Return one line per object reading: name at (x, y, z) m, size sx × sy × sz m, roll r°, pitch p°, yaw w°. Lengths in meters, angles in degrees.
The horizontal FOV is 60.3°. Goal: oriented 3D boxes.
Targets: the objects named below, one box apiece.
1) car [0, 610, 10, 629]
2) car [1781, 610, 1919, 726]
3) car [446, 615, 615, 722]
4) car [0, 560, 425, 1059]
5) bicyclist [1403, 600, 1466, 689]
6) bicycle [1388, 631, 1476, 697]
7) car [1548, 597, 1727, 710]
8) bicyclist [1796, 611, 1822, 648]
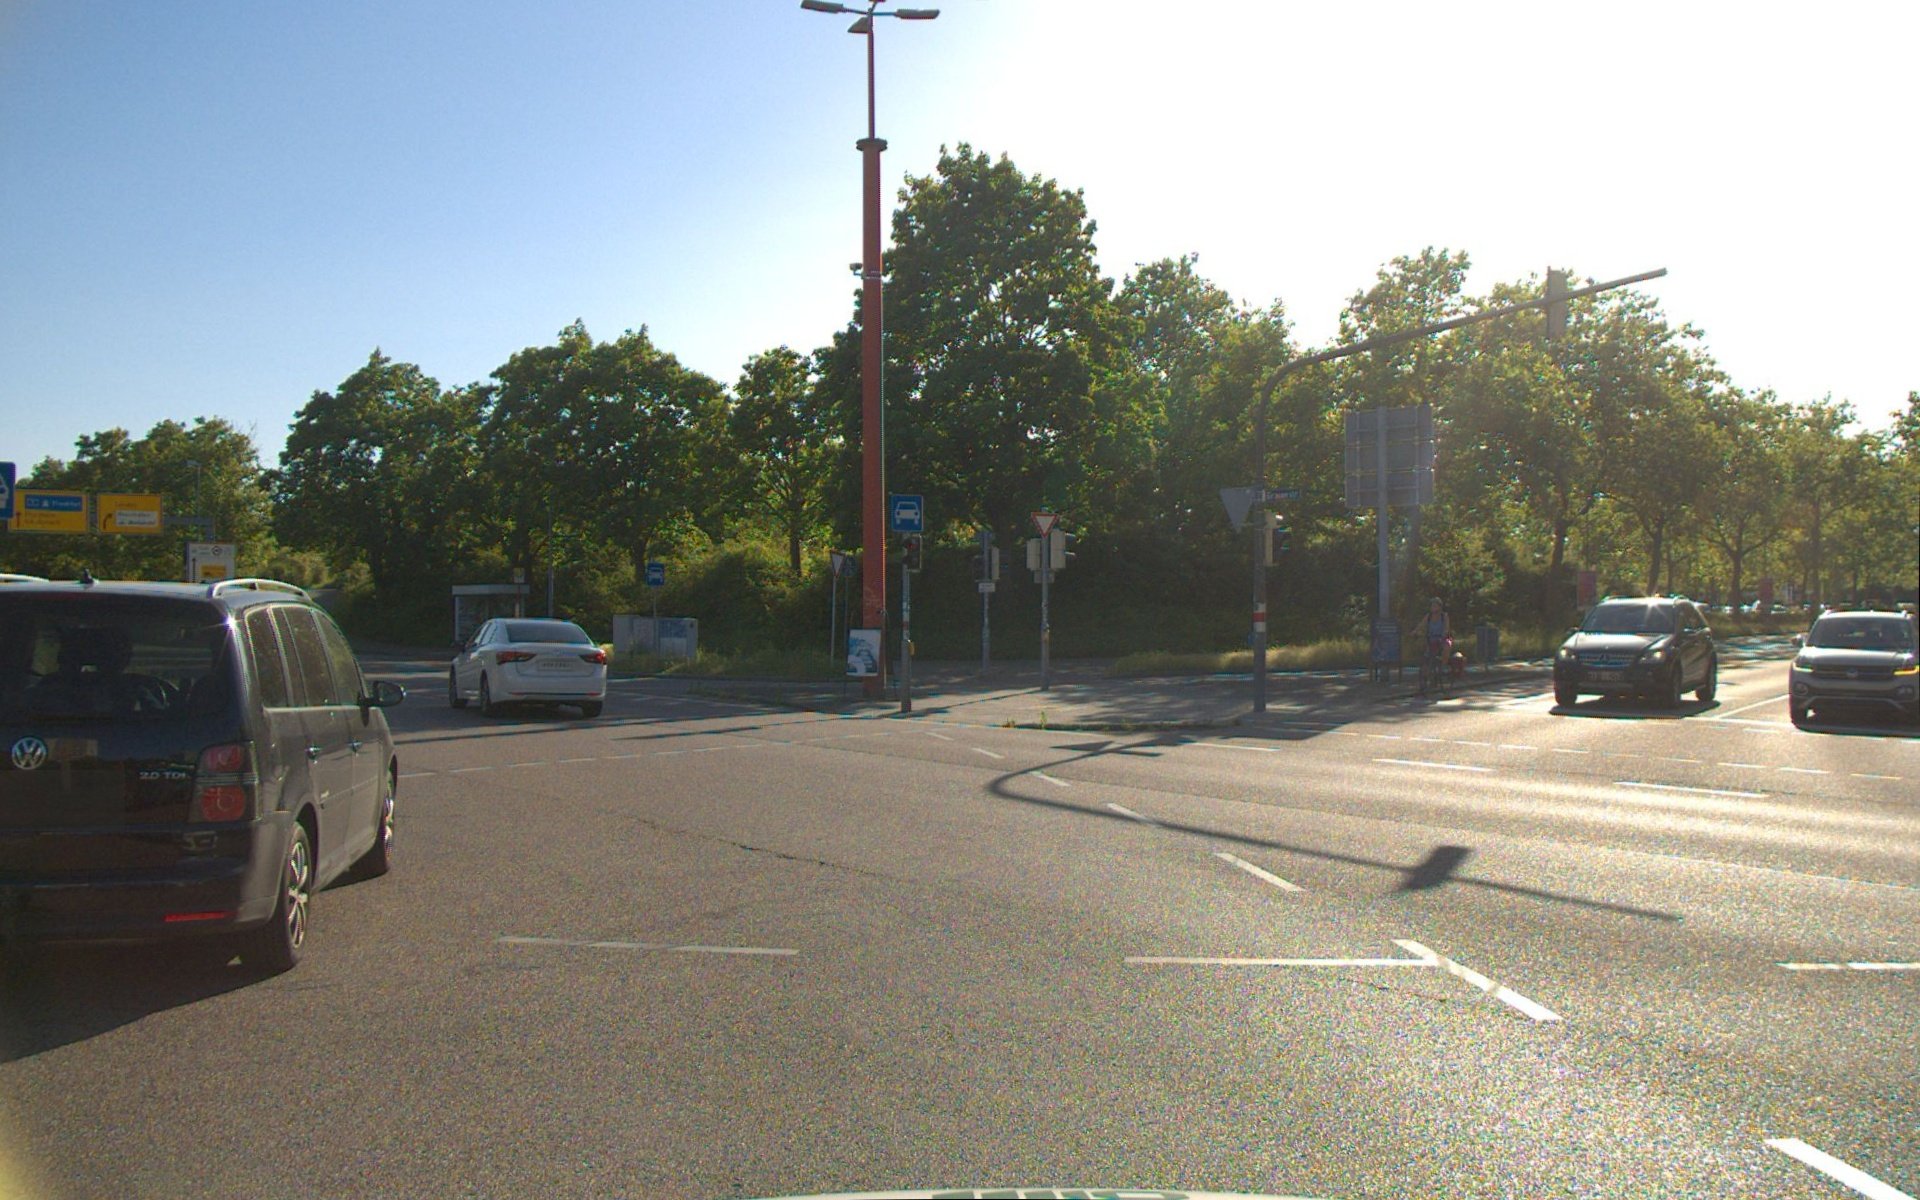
car at (-75.969, 1.523, 130.157) m, size 1.753 × 1.489 × 4.312 m, roll 0°, pitch 0°, yaw -35°
car at (13.483, 0.935, 24.619) m, size 1.737 × 1.565 × 4.078 m, roll 0°, pitch 0°, yaw 34°
car at (-6.814, 1.002, 25.937) m, size 1.746 × 1.489 × 4.329 m, roll 0°, pitch 0°, yaw -26°
car at (-3.797, 0.702, 7.938) m, size 1.736 × 1.673 × 4.910 m, roll 0°, pitch 0°, yaw -11°
bicyclist at (8.683, 0.797, 30.252) m, size 0.748 × 1.585 × 0.975 m, roll -1°, pitch 0°, yaw 42°
bicycle at (8.629, 1.147, 30.193) m, size 0.752 × 1.110 × 2.003 m, roll -1°, pitch 0°, yaw 42°
car at (11.656, 0.843, 28.266) m, size 1.870 × 1.757 × 4.637 m, roll 0°, pitch 0°, yaw 35°
bicyclist at (33.738, 1.171, 65.731) m, size 0.723 × 1.462 × 0.961 m, roll -1°, pitch -1°, yaw 39°
